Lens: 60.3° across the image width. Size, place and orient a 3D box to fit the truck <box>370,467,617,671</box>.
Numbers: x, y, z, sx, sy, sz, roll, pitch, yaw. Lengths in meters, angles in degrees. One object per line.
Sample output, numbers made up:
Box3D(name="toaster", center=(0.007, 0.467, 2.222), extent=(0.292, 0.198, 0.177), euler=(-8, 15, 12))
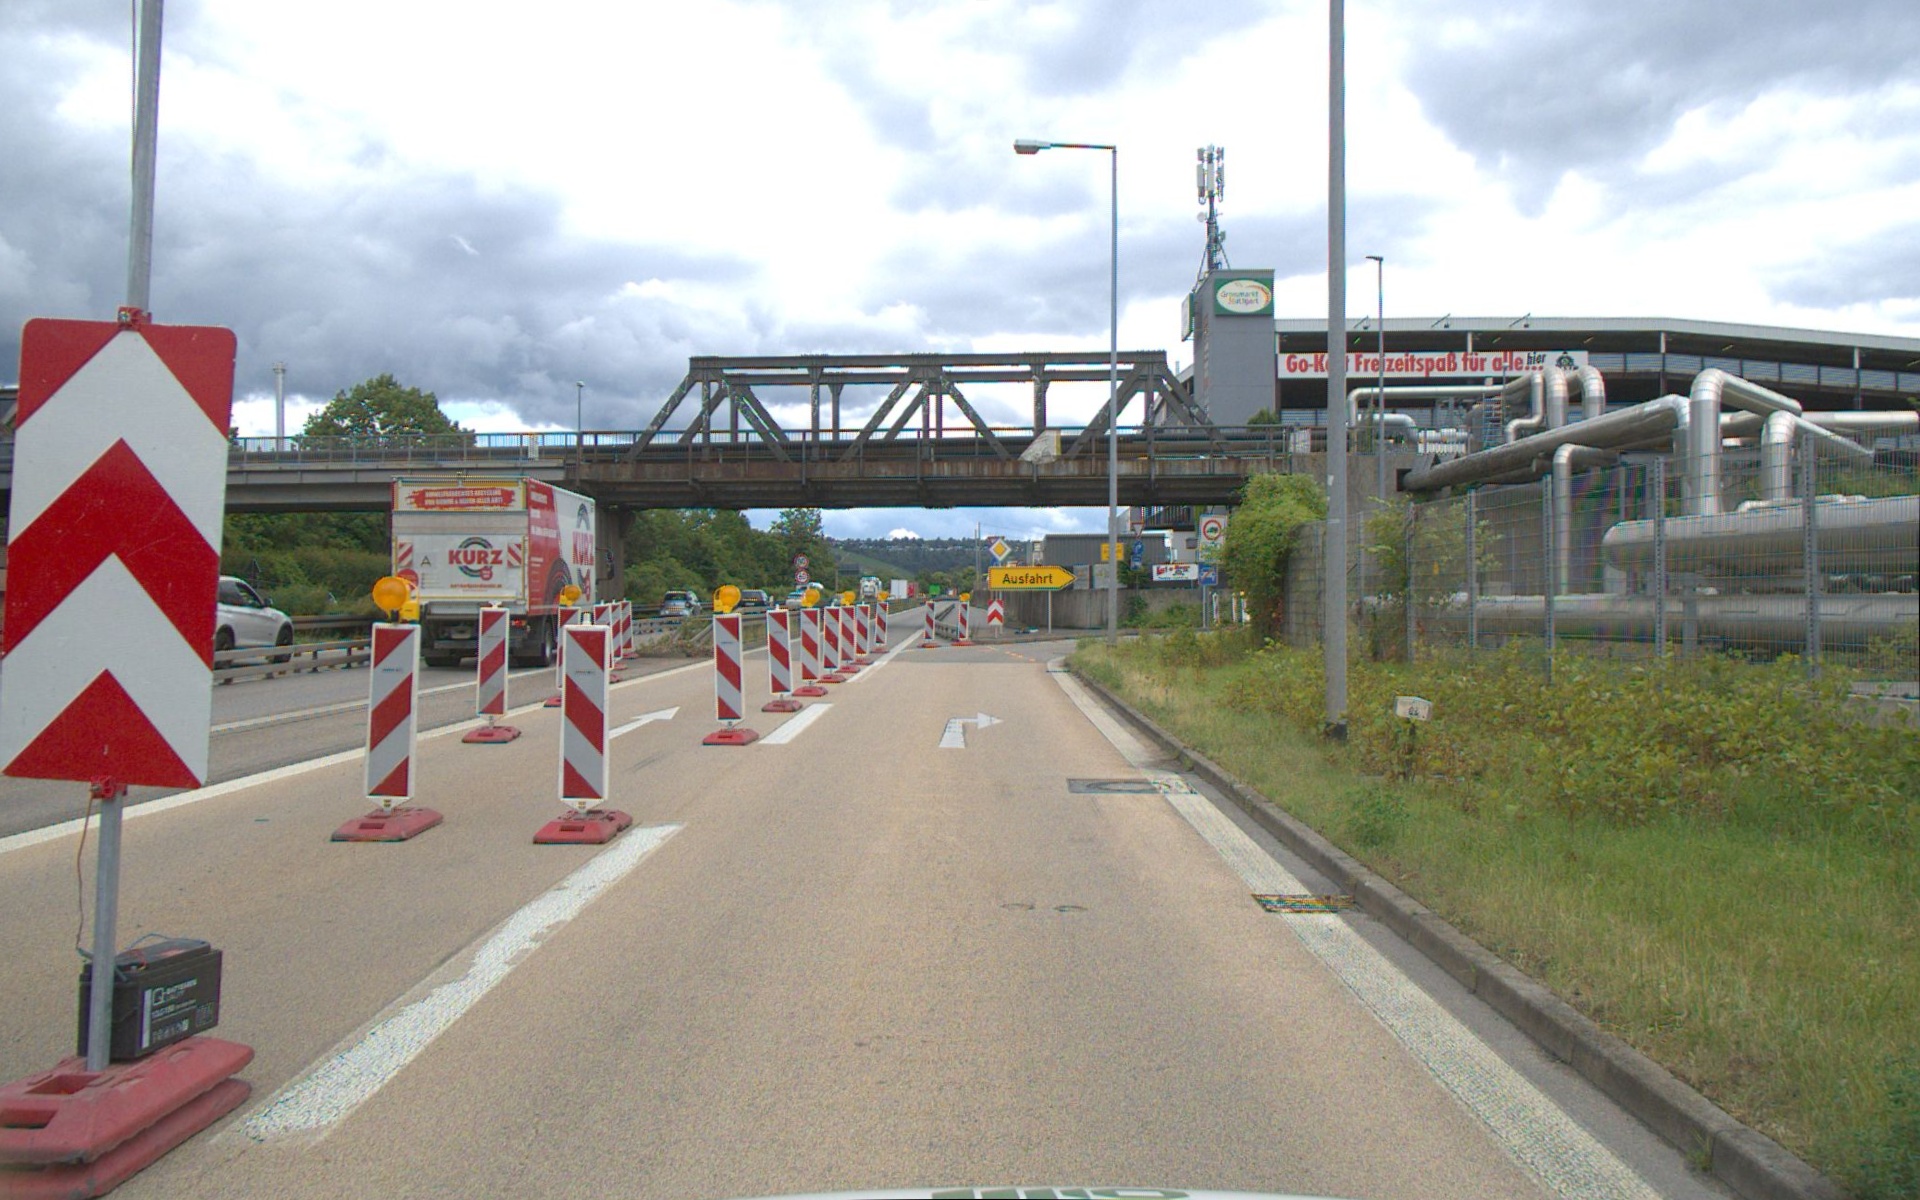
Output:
Box3D(name="truck", center=(-9.535, -0.562, 35.183), extent=(2.894, 3.693, 10.147), euler=(0, 0, -3))

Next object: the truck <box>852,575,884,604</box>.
Box3D(name="truck", center=(-12.047, -1.304, 216.592), extent=(3.643, 3.709, 7.728), euler=(0, 0, 1))

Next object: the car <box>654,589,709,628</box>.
Box3D(name="car", center=(-13.318, 0.396, 79.302), extent=(1.953, 1.790, 3.999), euler=(-1, 0, 0))

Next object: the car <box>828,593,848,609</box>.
Box3D(name="car", center=(-12.700, 0.096, 172.451), extent=(1.743, 1.624, 3.750), euler=(0, 0, 1))

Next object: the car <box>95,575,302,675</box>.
Box3D(name="car", center=(-13.753, 0.439, 30.168), extent=(1.816, 1.669, 4.291), euler=(1, 0, -1))

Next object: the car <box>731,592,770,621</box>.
Box3D(name="car", center=(-13.240, 0.399, 104.718), extent=(1.953, 1.790, 3.999), euler=(-1, 0, -1))

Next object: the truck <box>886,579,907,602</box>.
Box3D(name="truck", center=(-9.005, -1.332, 236.846), extent=(2.626, 3.195, 6.132), euler=(1, 0, 1))

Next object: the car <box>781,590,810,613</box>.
Box3D(name="car", center=(-13.095, 0.121, 131.553), extent=(1.953, 1.847, 3.999), euler=(0, 0, -1))
